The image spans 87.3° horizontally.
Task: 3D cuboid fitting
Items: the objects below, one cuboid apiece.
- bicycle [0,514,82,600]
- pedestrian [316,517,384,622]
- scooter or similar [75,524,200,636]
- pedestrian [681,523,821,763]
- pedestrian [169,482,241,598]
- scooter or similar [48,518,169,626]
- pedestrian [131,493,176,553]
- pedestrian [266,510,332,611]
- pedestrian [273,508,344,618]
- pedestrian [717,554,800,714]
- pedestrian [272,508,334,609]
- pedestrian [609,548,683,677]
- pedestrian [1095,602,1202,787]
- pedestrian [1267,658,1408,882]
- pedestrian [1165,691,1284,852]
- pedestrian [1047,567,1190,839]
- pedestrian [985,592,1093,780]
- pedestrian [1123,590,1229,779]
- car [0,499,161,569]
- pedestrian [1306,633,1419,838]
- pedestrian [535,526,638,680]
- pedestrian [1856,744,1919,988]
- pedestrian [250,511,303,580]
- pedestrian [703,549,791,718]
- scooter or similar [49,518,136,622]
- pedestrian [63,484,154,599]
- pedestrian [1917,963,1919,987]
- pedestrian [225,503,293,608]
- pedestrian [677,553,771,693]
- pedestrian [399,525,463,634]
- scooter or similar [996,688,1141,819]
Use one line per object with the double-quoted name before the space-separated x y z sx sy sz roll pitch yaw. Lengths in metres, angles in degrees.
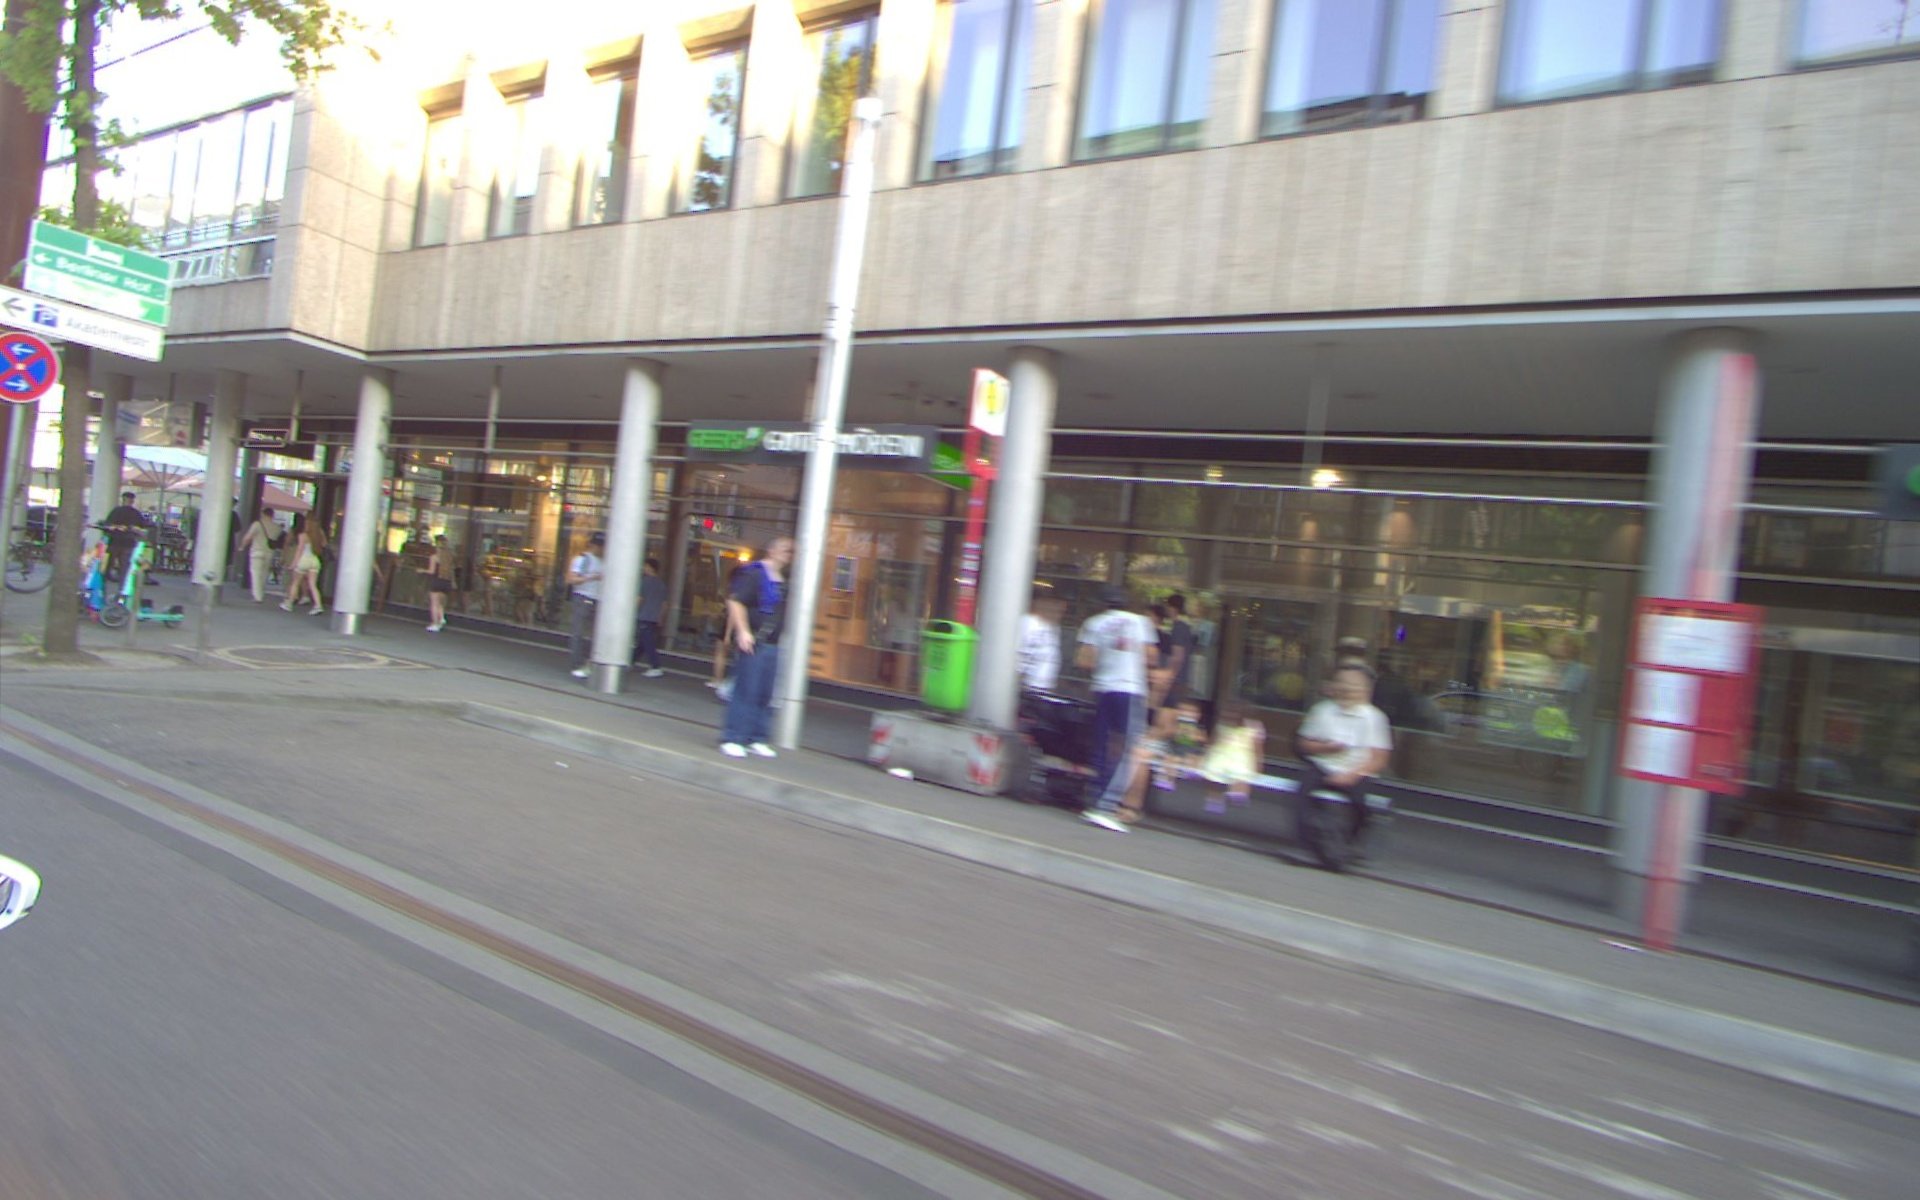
"bicycle" -13.941 -0.657 14.324 0.713 1.170 1.999 7 1 26
"pedestrian" -11.080 -0.545 18.275 0.707 1.809 0.663 7 1 31
"scooter or similar" -10.116 -0.238 12.415 0.487 1.267 1.115 7 1 0
"pedestrian" -1.735 0.349 8.394 0.696 1.862 0.669 7 1 30
"pedestrian" -14.070 -1.120 18.755 0.769 2.039 0.687 7 1 31
"scooter or similar" -10.807 -0.333 12.802 0.386 1.267 1.191 7 1 1
"pedestrian" -26.573 -2.534 33.157 0.793 1.846 0.809 8 1 35
"pedestrian" -12.526 -0.742 19.069 0.707 1.809 0.663 7 1 31
"pedestrian" -11.404 -0.647 17.606 0.707 1.809 0.663 7 1 31
"pedestrian" -2.422 0.409 12.105 0.594 1.829 0.540 7 1 29
"pedestrian" -12.852 -0.801 19.670 0.708 1.871 0.663 7 1 36
"pedestrian" -4.476 0.189 14.350 0.607 1.753 0.571 7 1 29
"pedestrian" 1.953 0.956 10.406 0.760 1.775 0.583 7 1 29
"pedestrian" 2.684 1.165 7.115 0.651 1.397 0.814 7 -1 32
"pedestrian" 1.995 1.256 7.539 0.535 1.054 0.814 7 -1 32
"pedestrian" 1.184 0.738 7.471 0.657 1.862 0.640 7 1 31
"pedestrian" 0.767 0.817 9.716 0.639 1.682 0.649 7 1 31
"pedestrian" 2.354 0.906 10.945 0.760 1.906 0.688 7 1 29
"car" -25.193 -1.865 28.101 1.745 1.425 4.049 6 -2 29
"pedestrian" 3.632 1.190 9.062 0.669 1.682 0.648 7 1 32
"pedestrian" -4.785 0.046 12.892 0.865 1.862 0.669 7 1 30
"pedestrian" 5.774 1.566 5.909 0.523 1.331 0.719 7 1 32
"pedestrian" -20.259 -1.620 29.826 0.859 1.860 0.805 7 -2 30
"pedestrian" -2.423 0.385 11.454 0.594 1.829 0.540 7 1 29
"scooter or similar" -11.315 -0.400 13.154 0.388 1.267 1.185 7 1 -21
"pedestrian" -13.795 -0.942 16.303 0.908 1.740 0.764 6 1 32
"pedestrian" 5.500 1.504 5.213 0.523 1.331 0.719 7 1 32
"pedestrian" -12.869 -0.810 18.469 0.707 1.809 0.663 7 1 31
"pedestrian" -3.234 0.321 13.802 0.761 1.794 0.774 7 1 29
"pedestrian" -8.965 -0.342 17.051 0.607 1.753 0.571 7 1 29
"scooter or similar" 0.868 1.212 7.997 0.678 0.894 0.832 6 -3 44
